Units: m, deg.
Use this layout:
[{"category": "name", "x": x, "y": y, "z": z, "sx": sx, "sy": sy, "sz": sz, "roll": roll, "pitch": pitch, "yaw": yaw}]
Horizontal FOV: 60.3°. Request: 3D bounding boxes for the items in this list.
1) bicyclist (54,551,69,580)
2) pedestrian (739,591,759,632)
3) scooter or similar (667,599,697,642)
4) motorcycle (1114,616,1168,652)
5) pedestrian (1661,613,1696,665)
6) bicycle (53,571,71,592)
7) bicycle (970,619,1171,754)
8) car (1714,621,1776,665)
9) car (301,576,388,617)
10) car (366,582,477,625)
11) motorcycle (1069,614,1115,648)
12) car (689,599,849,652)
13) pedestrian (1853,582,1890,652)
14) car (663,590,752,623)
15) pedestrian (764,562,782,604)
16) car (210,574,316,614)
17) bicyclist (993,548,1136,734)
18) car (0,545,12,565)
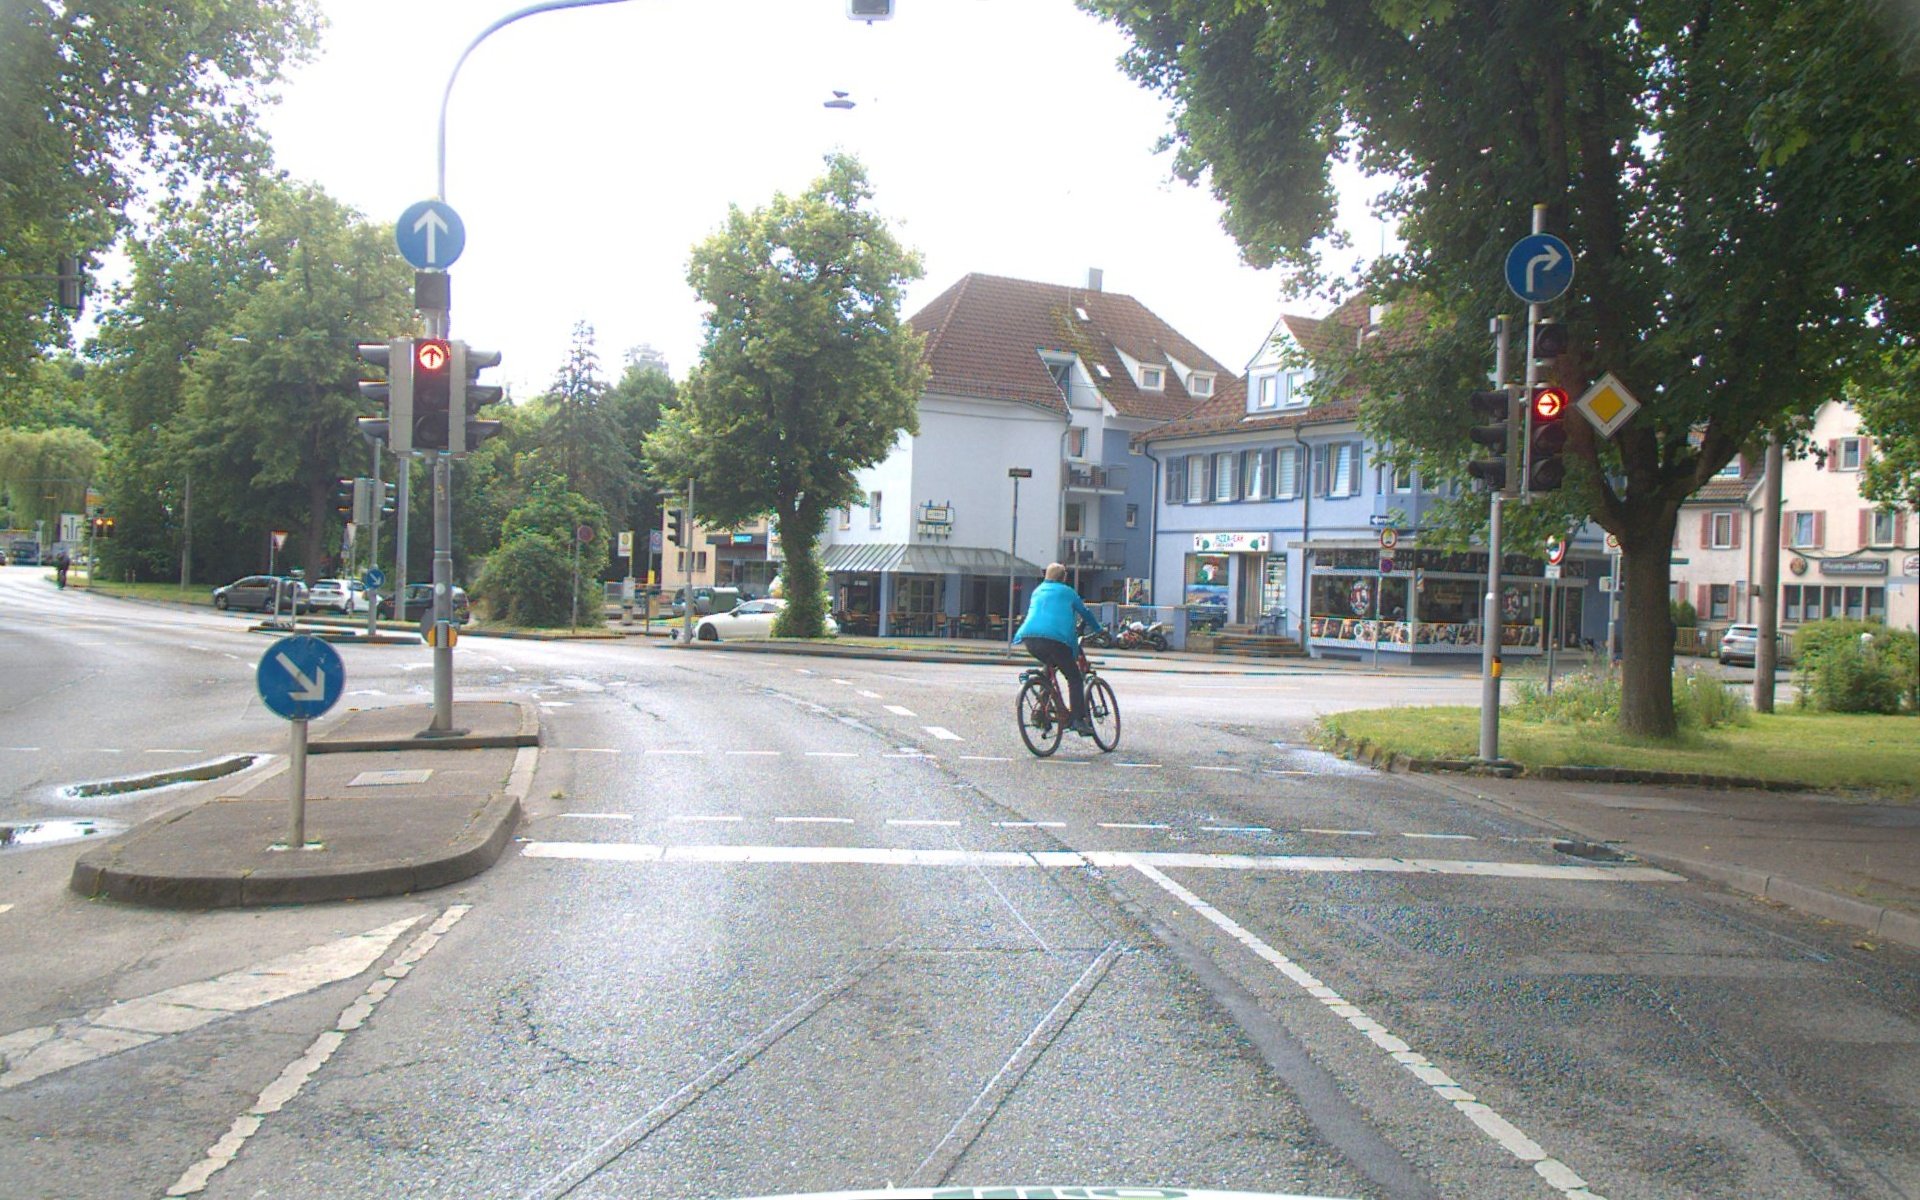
[{"category": "bicyclist", "x": -42.486, "y": -1.631, "z": 78.237, "sx": 0.535, "sy": 1.365, "sz": 0.706, "roll": 1, "pitch": 0, "yaw": -34}, {"category": "pedestrian", "x": -10.783, "y": 0.570, "z": 84.424, "sx": 0.824, "sy": 2.049, "sz": 1.051, "roll": 1, "pitch": 0, "yaw": -17}, {"category": "scooter or similar", "x": -7.795, "y": 0.572, "z": 46.461, "sx": 0.433, "sy": 1.195, "sz": 1.439, "roll": 1, "pitch": 0, "yaw": 6}, {"category": "motorcycle", "x": 5.806, "y": 1.084, "z": 53.038, "sx": 1.594, "sy": 1.107, "sz": 0.626, "roll": 1, "pitch": 0, "yaw": 29}, {"category": "pedestrian", "x": 22.364, "y": 1.206, "z": 51.508, "sx": 0.660, "sy": 1.587, "sz": 0.743, "roll": 1, "pitch": -1, "yaw": -18}, {"category": "bicycle", "x": -42.506, "y": -0.900, "z": 78.266, "sx": 0.551, "sy": 0.975, "sz": 2.009, "roll": 1, "pitch": 0, "yaw": -33}, {"category": "bicycle", "x": 1.071, "y": 0.783, "z": 15.673, "sx": 0.861, "sy": 1.169, "sz": 1.940, "roll": 1, "pitch": 0, "yaw": 43}, {"category": "car", "x": 27.183, "y": 1.463, "z": 57.245, "sx": 1.848, "sy": 1.415, "sz": 3.611, "roll": 1, "pitch": 0, "yaw": 26}, {"category": "car", "x": -25.852, "y": -0.143, "z": 69.546, "sx": 1.821, "sy": 1.668, "sz": 3.757, "roll": 1, "pitch": 0, "yaw": 8}, {"category": "car", "x": -18.468, "y": 0.119, "z": 56.734, "sx": 3.250, "sy": 1.376, "sz": 1.779, "roll": 1, "pitch": 0, "yaw": 24}, {"category": "motorcycle", "x": 4.378, "y": 1.022, "z": 54.724, "sx": 1.429, "sy": 1.107, "sz": 0.523, "roll": 1, "pitch": 0, "yaw": 33}, {"category": "car", "x": -5.766, "y": 0.754, "z": 49.731, "sx": 4.615, "sy": 1.435, "sz": 1.897, "roll": 1, "pitch": 0, "yaw": 32}, {"category": "pedestrian", "x": 20.794, "y": 0.388, "z": 37.745, "sx": 0.717, "sy": 1.587, "sz": 0.767, "roll": 1, "pitch": -1, "yaw": 28}, {"category": "car", "x": -12.104, "y": 0.320, "z": 79.255, "sx": 3.884, "sy": 1.467, "sz": 1.740, "roll": 1, "pitch": 0, "yaw": -23}, {"category": "pedestrian", "x": -7.130, "y": -0.648, "z": 63.109, "sx": 0.531, "sy": 1.587, "sz": 0.468, "roll": 1, "pitch": -1, "yaw": 10}, {"category": "car", "x": -27.996, "y": -0.240, "z": 66.463, "sx": 3.694, "sy": 1.491, "sz": 1.622, "roll": 1, "pitch": 0, "yaw": 15}, {"category": "bicyclist", "x": 0.984, "y": 0.368, "z": 15.578, "sx": 0.902, "sy": 1.680, "sz": 0.982, "roll": 1, "pitch": 0, "yaw": 44}, {"category": "car", "x": -83.357, "y": -3.920, "z": 143.145, "sx": 1.977, "sy": 1.624, "sz": 3.951, "roll": 1, "pitch": -1, "yaw": -35}]
